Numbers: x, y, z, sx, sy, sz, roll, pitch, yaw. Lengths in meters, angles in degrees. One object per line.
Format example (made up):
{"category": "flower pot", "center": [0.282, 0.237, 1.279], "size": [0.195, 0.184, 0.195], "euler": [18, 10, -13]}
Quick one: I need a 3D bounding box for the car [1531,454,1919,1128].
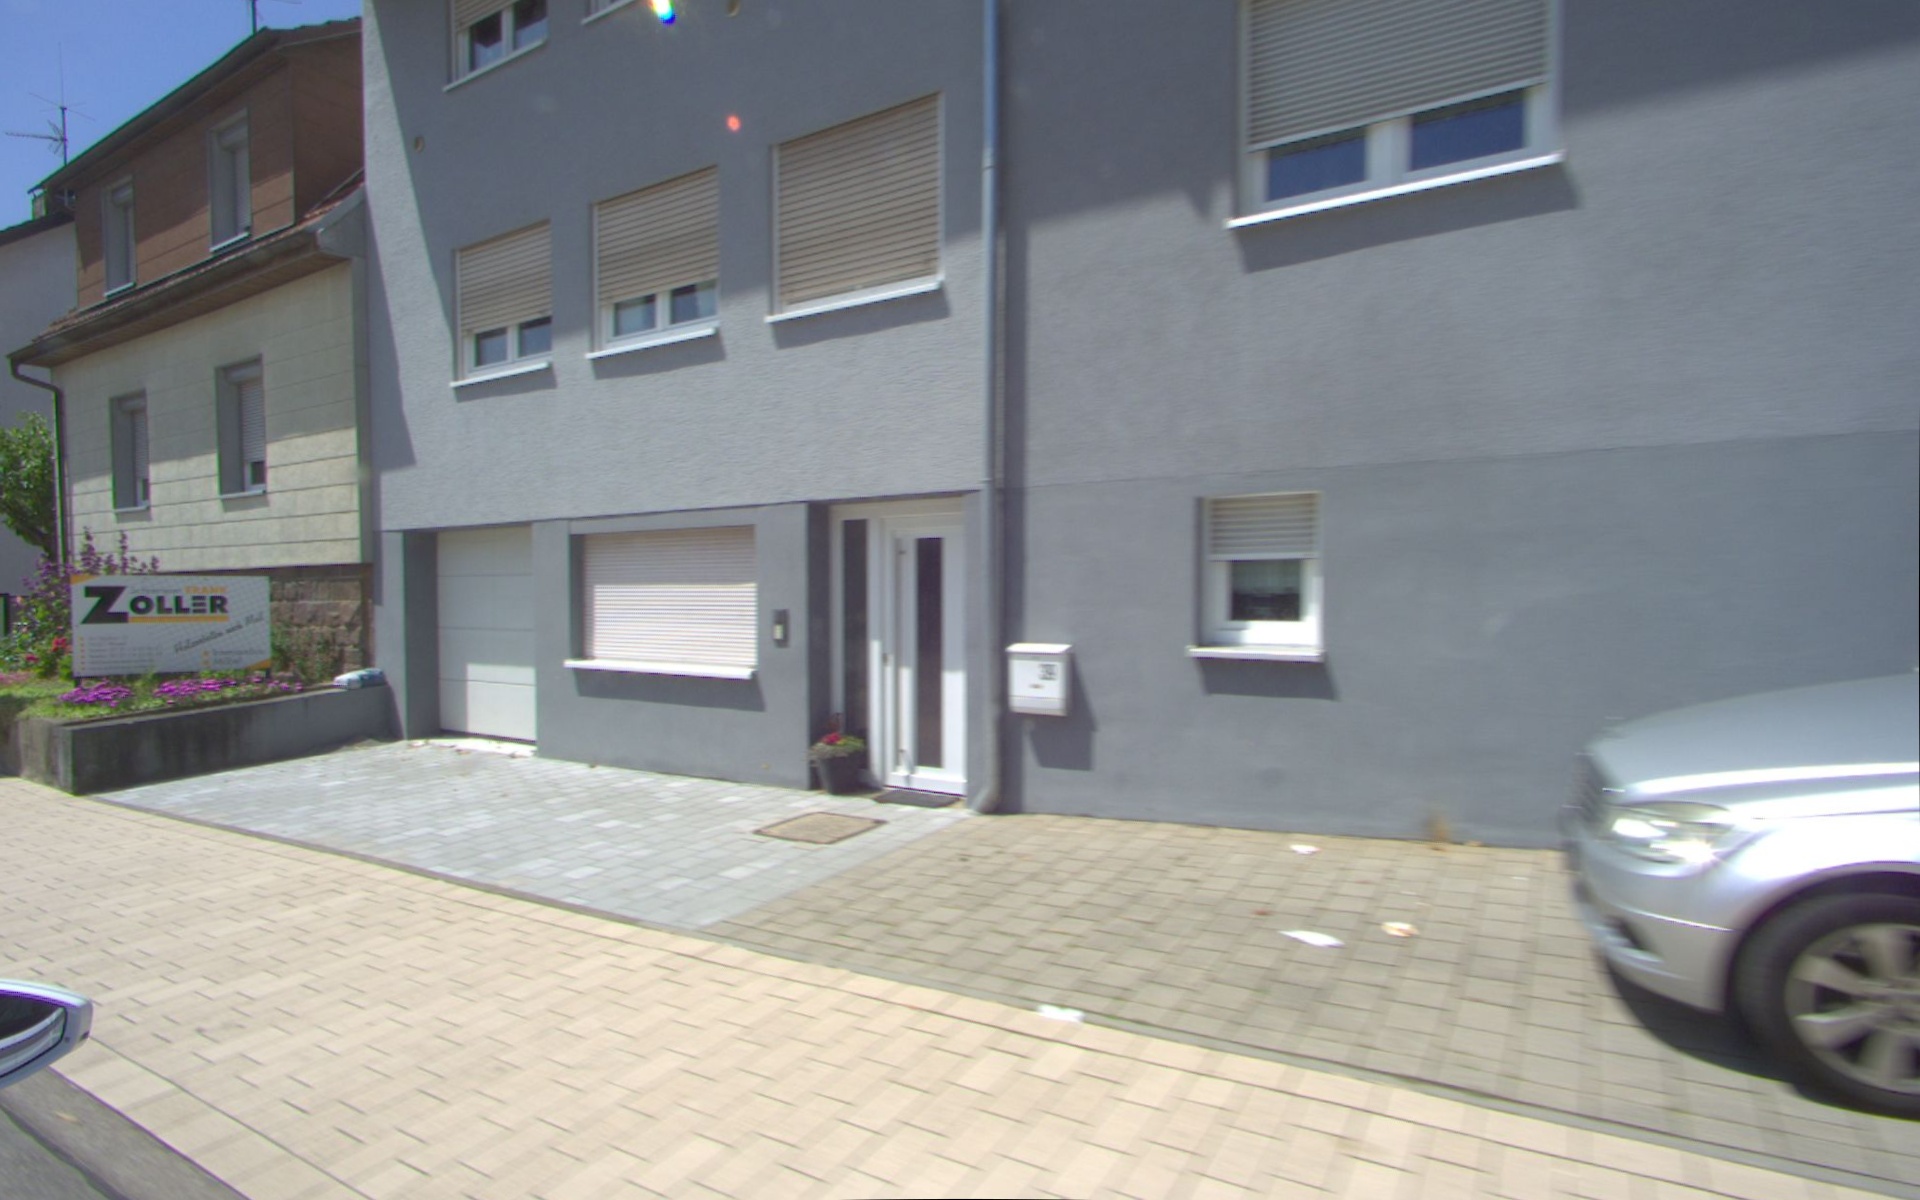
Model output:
{"category": "car", "center": [3.993, 0.391, 2.407], "size": [4.446, 1.643, 1.857], "euler": [-1, 3, 34]}
